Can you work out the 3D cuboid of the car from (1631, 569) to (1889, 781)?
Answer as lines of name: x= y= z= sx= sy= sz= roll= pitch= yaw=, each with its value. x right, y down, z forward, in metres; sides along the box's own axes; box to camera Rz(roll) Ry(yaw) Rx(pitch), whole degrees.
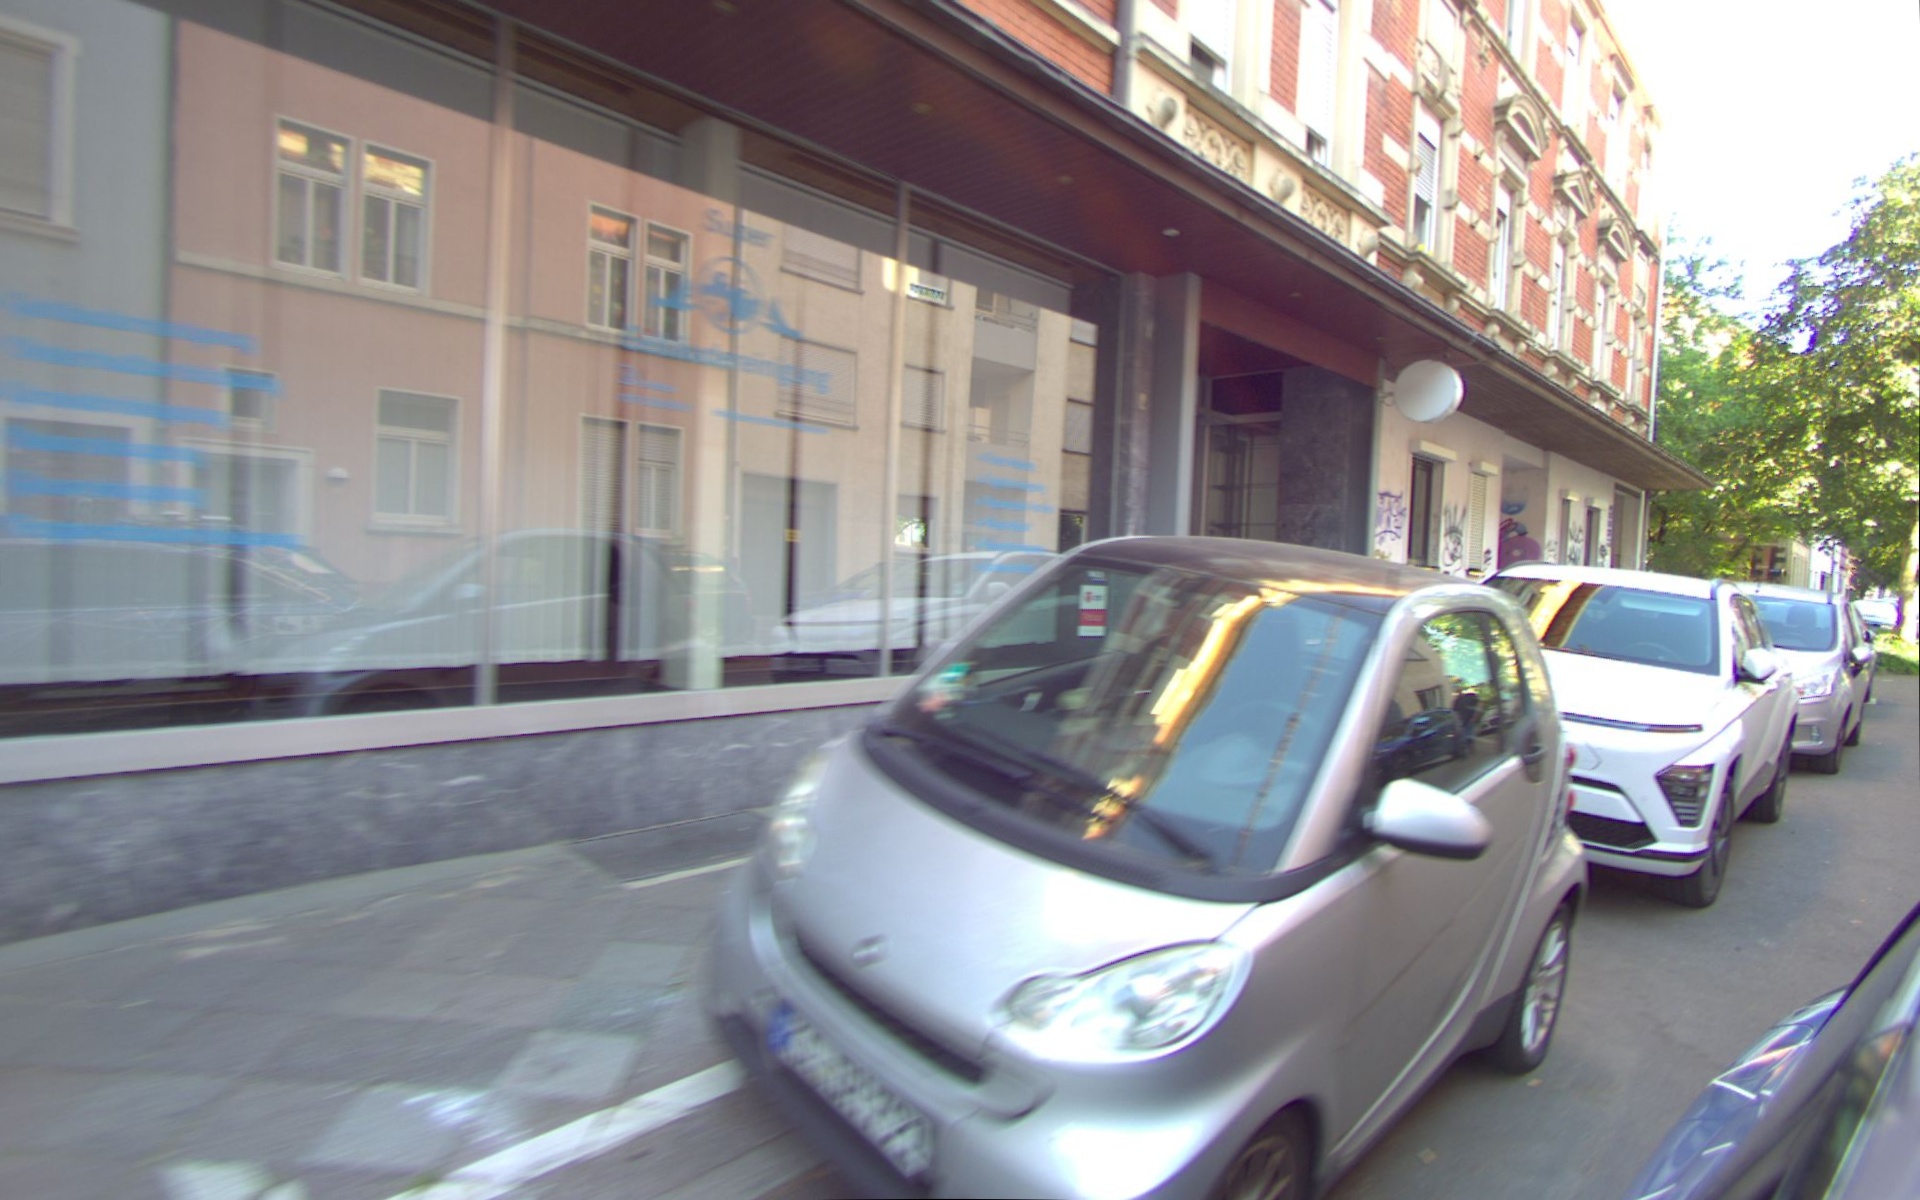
car: x=7.862 y=0.563 z=9.815 sx=1.600 sy=1.656 sz=3.714 roll=1 pitch=1 yaw=44

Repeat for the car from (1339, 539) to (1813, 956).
car: x=3.910 y=0.574 z=6.086 sx=1.600 sy=1.682 sz=3.995 roll=1 pitch=1 yaw=44

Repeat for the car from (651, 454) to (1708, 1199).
car: x=1.015 y=0.538 z=3.182 sx=1.524 sy=1.551 sz=3.408 roll=12 pitch=8 yaw=43

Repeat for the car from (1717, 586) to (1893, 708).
car: x=12.251 y=0.571 z=14.583 sx=1.643 sy=1.468 sz=4.099 roll=2 pitch=2 yaw=44
